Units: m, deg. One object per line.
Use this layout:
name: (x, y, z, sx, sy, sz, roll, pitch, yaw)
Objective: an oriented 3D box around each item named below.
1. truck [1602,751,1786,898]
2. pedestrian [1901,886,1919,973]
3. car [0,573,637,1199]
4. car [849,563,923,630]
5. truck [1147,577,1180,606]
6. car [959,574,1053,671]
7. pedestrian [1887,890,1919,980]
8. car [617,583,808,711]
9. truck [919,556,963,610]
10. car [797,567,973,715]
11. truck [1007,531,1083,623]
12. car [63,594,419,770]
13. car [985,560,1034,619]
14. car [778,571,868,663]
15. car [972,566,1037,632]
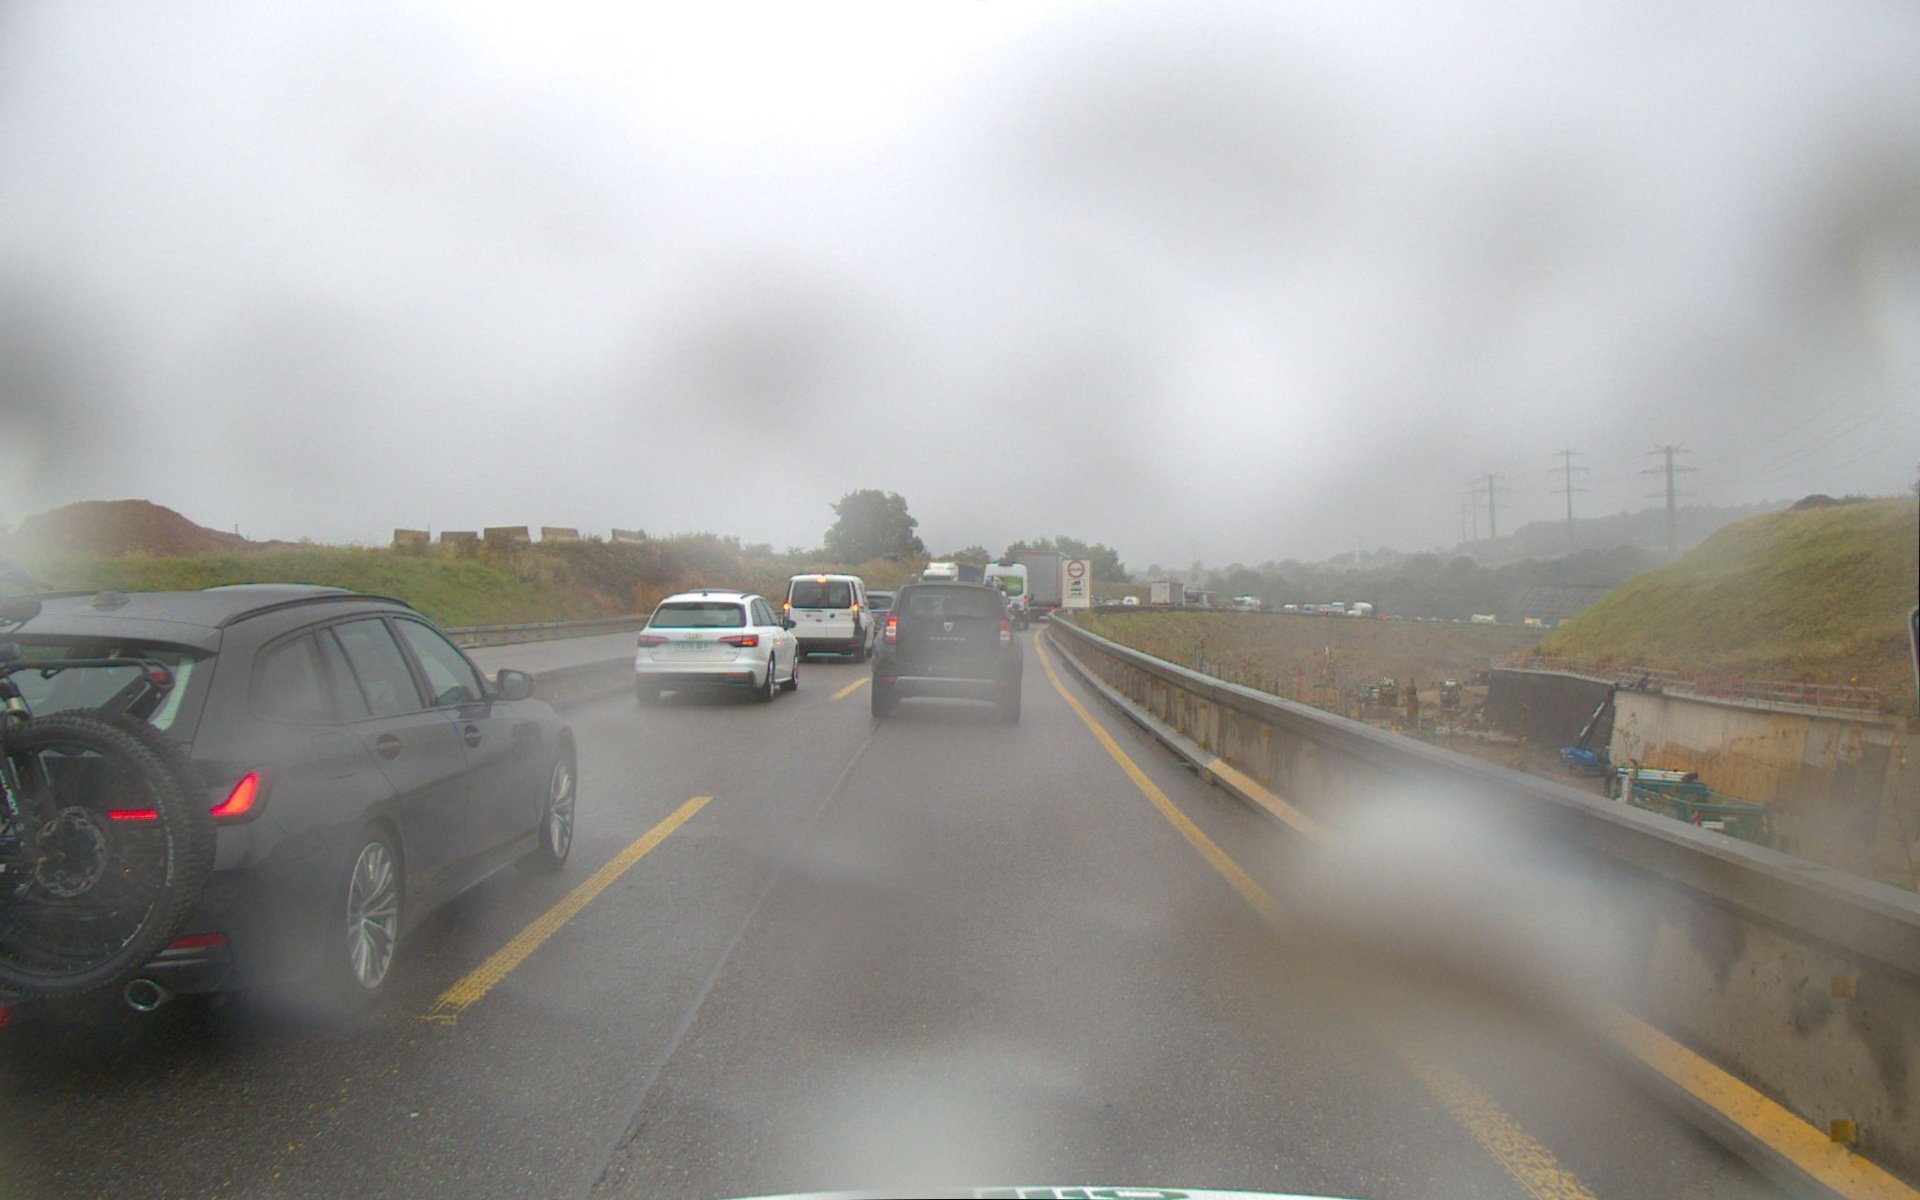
truck: (23.636, 7.100, 53.831, 2.672, 3.552, 9.070, 1, -1, 6)
pedestrian: (22.517, 7.752, 38.908, 0.564, 1.902, 0.732, 1, -1, 37)
car: (-2.793, 0.693, 6.868, 1.699, 1.488, 5.631, 1, 2, 1)
car: (-2.125, -0.072, 48.519, 1.788, 1.846, 4.001, 1, -1, 2)
truck: (27.126, -1.116, 220.112, 3.398, 3.780, 8.424, 0, 0, 13)
car: (0.896, 0.456, 34.275, 1.789, 1.846, 3.999, 1, -1, 0)
pedestrian: (21.855, 7.728, 38.162, 0.561, 1.902, 0.736, 1, -1, 7)
car: (-3.251, 0.600, 22.468, 1.788, 1.525, 4.001, 1, -1, 2)
truck: (-1.466, -1.391, 130.807, 2.729, 4.105, 5.824, 2, 1, 7)
car: (-0.826, 0.477, 20.613, 1.788, 1.619, 4.001, 1, -1, 3)
truck: (5.221, -1.270, 99.781, 3.468, 5.166, 10.449, 1, -1, 9)
car: (-6.896, 0.720, 16.414, 1.577, 1.468, 4.461, 1, 0, -1)
car: (2.214, -0.444, 72.764, 1.788, 2.480, 4.160, 1, -1, 6)
car: (-2.952, 0.369, 36.300, 1.790, 1.846, 3.997, 2, -1, -3)
car: (1.366, -0.003, 49.319, 1.788, 1.846, 4.001, 1, -1, 3)
